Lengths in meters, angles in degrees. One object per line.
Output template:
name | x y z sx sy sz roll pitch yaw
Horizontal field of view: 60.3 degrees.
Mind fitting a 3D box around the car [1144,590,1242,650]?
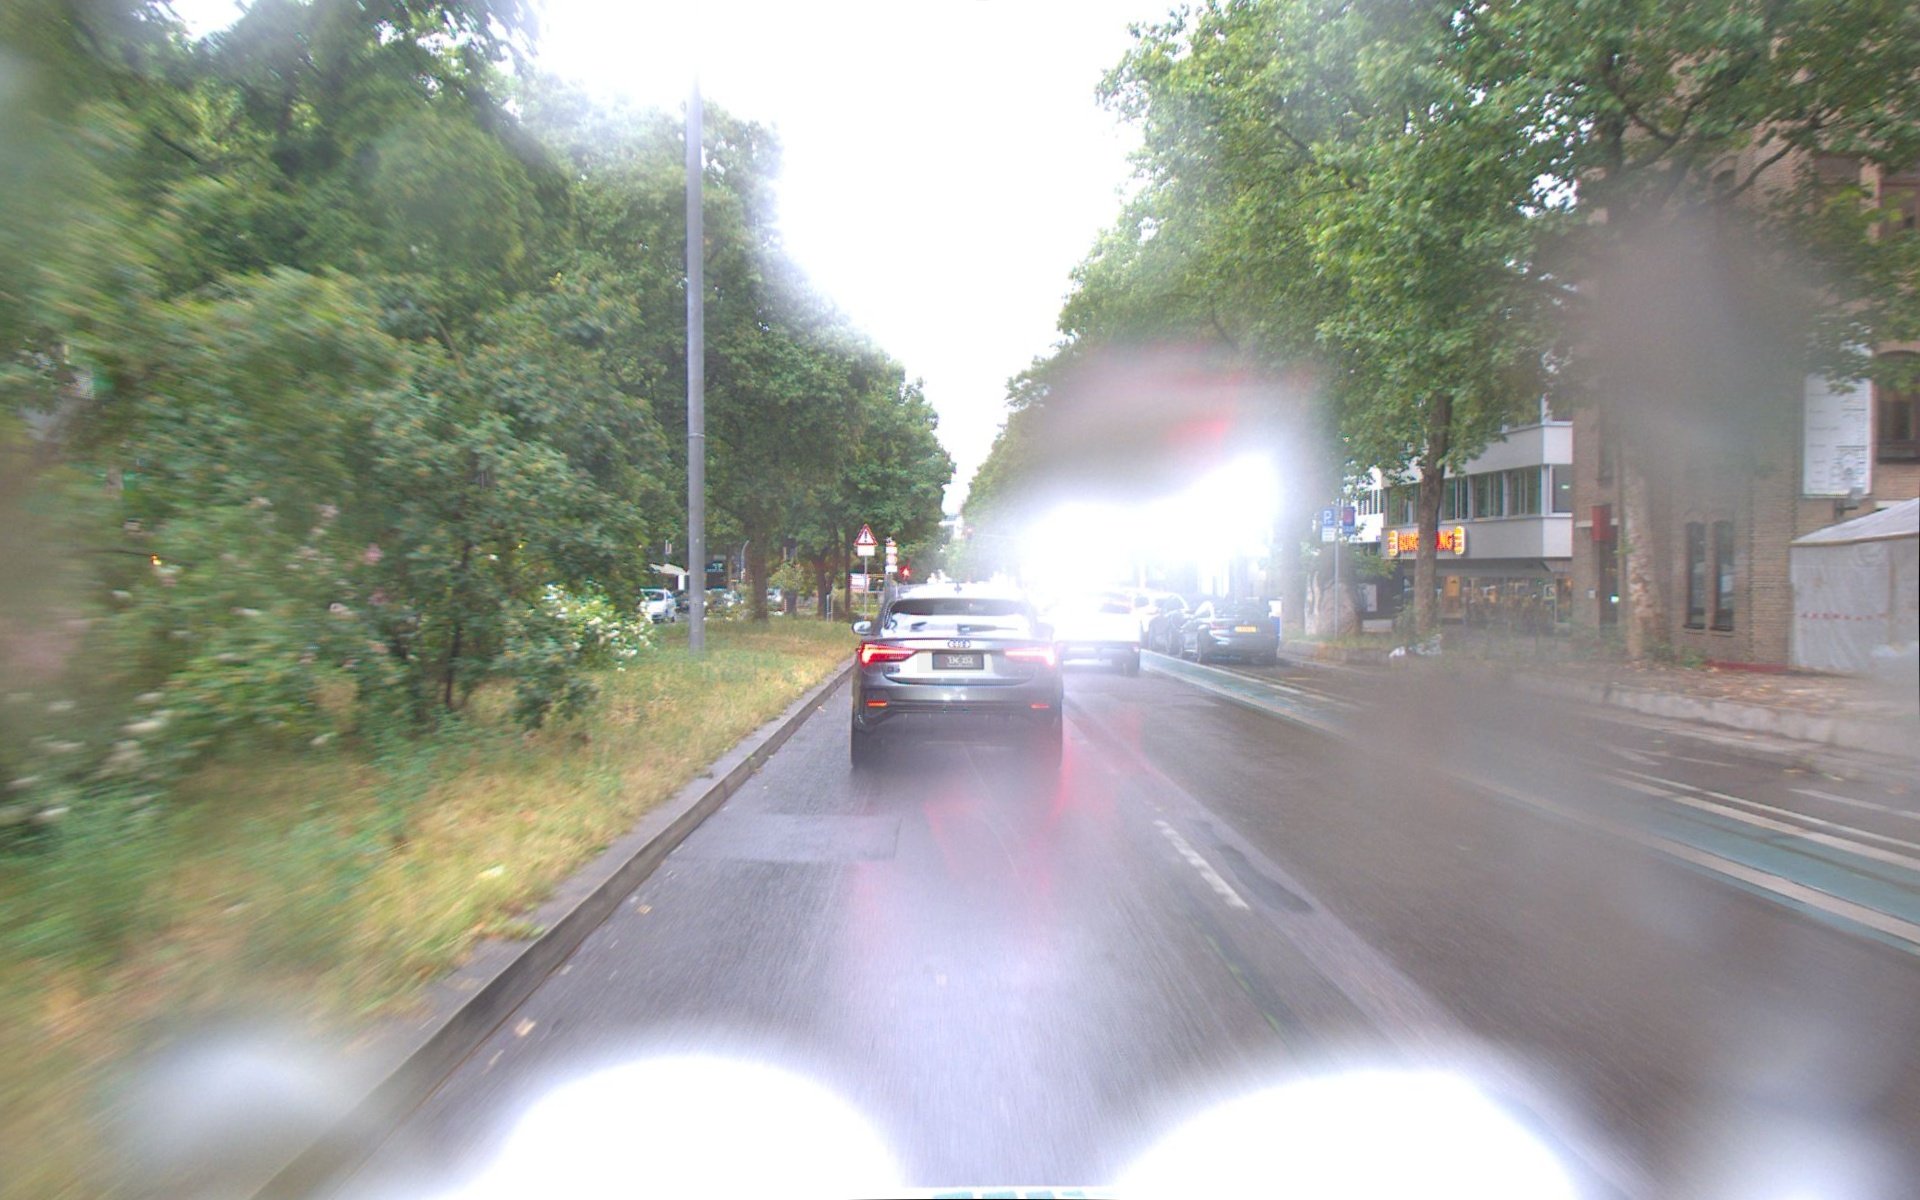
car | 6.366 0.533 45.647 1.830 1.547 4.556 2 0 -3

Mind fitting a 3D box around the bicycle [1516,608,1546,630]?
bicycle | 22.489 0.729 65.199 0.439 0.851 2.026 2 0 -1

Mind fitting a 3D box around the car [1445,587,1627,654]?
car | 10.254 0.361 29.465 2.830 1.093 1.453 1 0 30

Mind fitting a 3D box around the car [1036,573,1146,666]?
car | 2.624 0.384 33.913 1.840 1.727 3.999 2 0 -1

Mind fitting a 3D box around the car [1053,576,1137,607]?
car | 7.980 -0.504 97.740 4.548 1.736 1.998 1 0 27

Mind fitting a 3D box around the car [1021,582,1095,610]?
car | 6.638 -0.273 111.869 4.548 1.736 1.998 1 0 27

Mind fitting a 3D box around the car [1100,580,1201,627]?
car | 9.892 0.184 85.941 4.787 2.293 1.997 1 0 28

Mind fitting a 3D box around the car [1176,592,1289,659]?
car | 6.478 0.576 39.762 1.835 1.446 4.610 2 0 -1

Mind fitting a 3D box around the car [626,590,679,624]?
car | -13.527 0.290 72.911 1.615 1.460 3.812 0 0 0

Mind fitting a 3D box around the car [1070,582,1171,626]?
car | 7.828 0.183 80.750 4.517 2.049 1.960 1 0 37

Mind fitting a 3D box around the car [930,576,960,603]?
car | -1.072 -0.726 113.813 1.953 1.757 3.999 2 0 -2

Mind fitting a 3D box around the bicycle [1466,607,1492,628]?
bicycle | 22.207 0.735 70.837 0.439 0.851 2.026 2 0 -1

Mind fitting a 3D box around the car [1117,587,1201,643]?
car | 5.997 0.452 50.335 1.694 1.599 4.069 2 0 -5

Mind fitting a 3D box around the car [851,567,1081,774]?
car | -0.019 0.557 15.189 1.812 1.630 3.998 1 0 -2

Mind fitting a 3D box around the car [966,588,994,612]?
car | 1.458 0.015 122.259 1.953 1.680 3.999 2 0 -1
